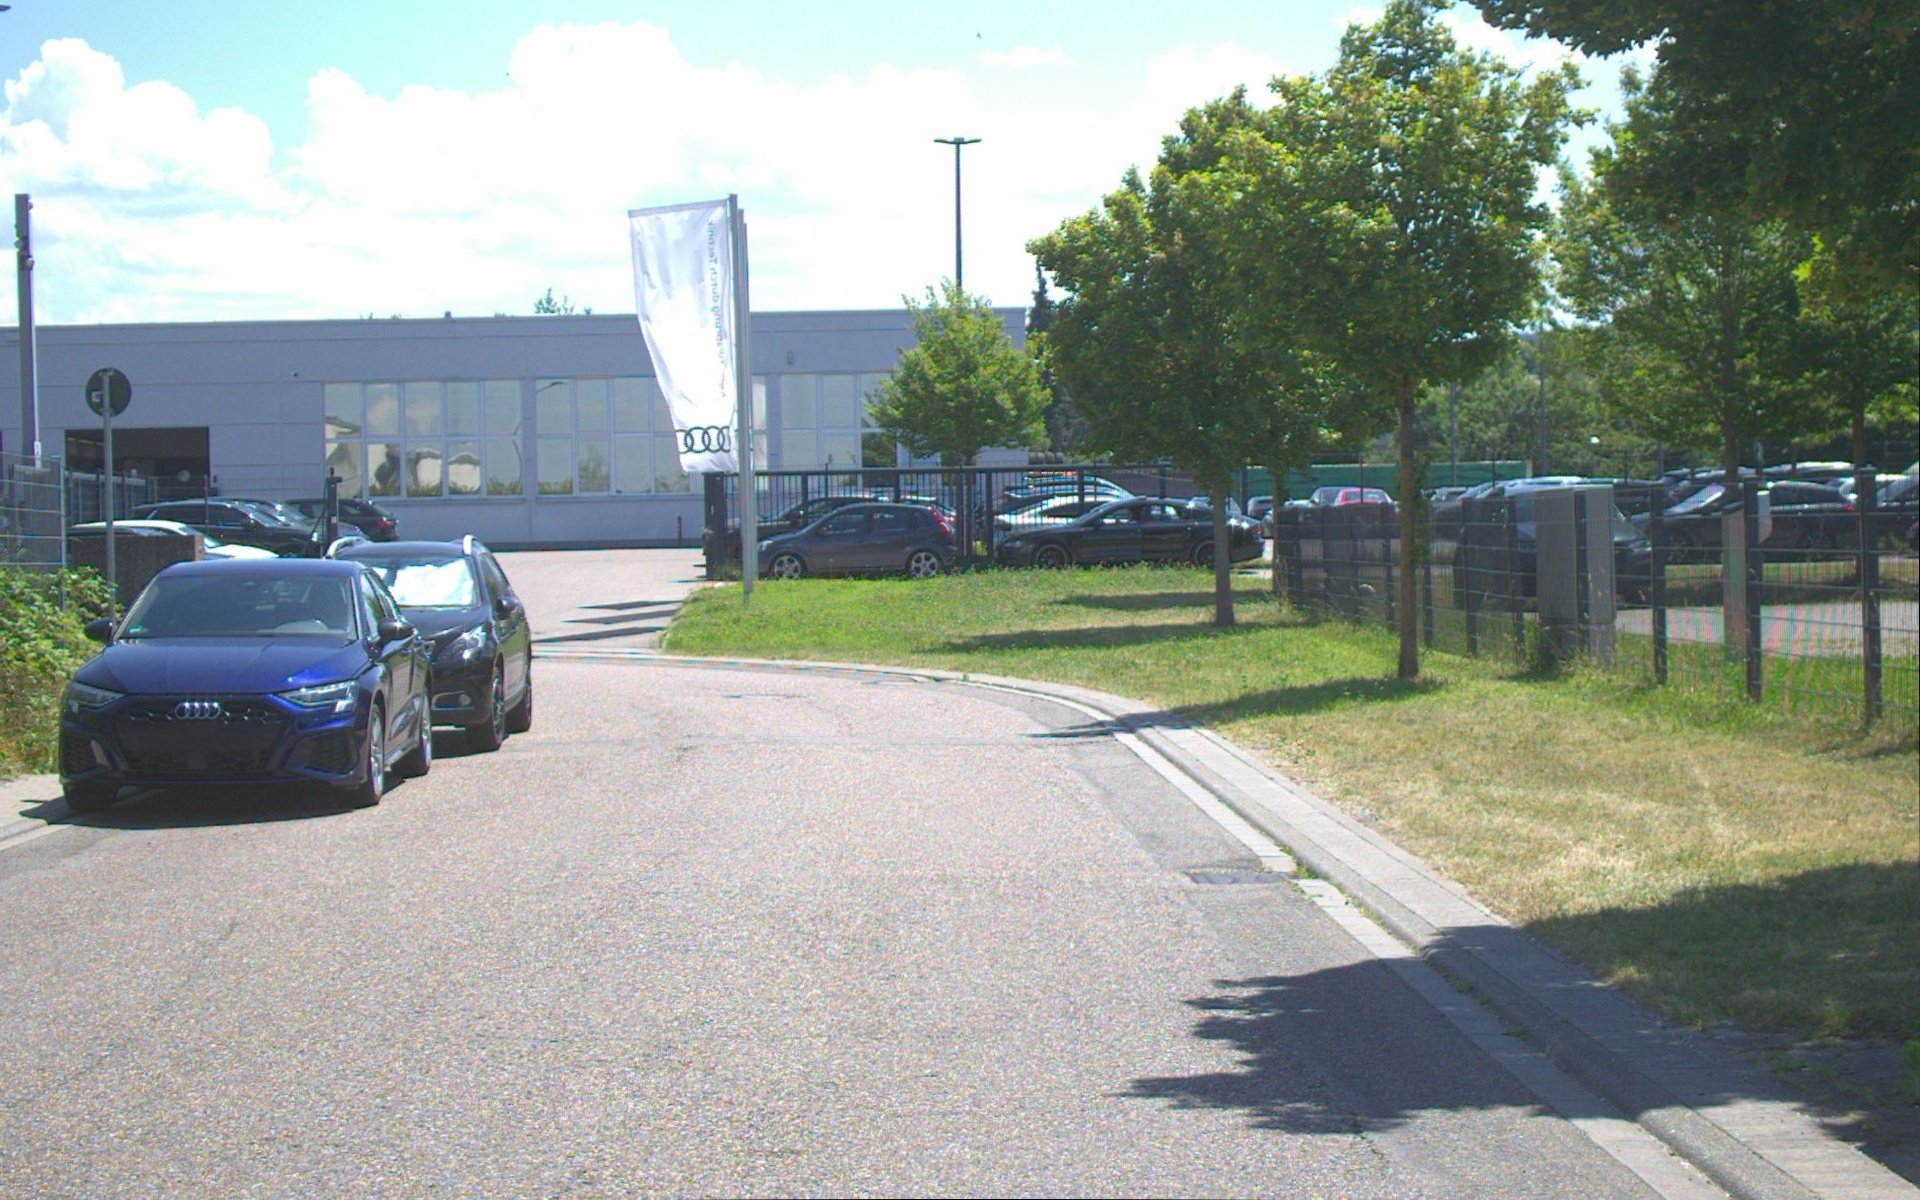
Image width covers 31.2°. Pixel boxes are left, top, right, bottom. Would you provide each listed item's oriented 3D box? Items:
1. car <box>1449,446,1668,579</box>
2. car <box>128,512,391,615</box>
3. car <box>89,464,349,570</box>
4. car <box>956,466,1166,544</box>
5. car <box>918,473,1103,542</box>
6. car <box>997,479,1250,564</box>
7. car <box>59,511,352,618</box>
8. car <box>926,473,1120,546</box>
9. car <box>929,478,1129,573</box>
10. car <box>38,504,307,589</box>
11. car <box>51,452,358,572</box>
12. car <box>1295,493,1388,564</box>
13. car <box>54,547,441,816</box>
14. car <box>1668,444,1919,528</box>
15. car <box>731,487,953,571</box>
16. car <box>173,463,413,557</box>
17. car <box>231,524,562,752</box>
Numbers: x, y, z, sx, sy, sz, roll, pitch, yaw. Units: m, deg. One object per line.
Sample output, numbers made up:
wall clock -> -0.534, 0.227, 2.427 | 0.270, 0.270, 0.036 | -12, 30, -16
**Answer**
car -> 7.278, -1.082, 42.172 | 1.735, 1.517, 3.896 | -2, 2, -4
car -> -14.090, -0.752, 69.355 | 4.883, 1.916, 2.000 | -1, 2, -1
car -> -14.364, -1.611, 66.826 | 4.586, 1.916, 2.000 | -1, 2, -1
car -> 1.971, -1.870, 67.930 | 3.986, 1.393, 2.000 | -1, -1, -2
car -> 1.101, -2.053, 76.836 | 3.986, 1.393, 2.000 | -1, -1, -2
car -> 2.970, -1.437, 63.201 | 4.437, 1.393, 2.000 | -1, -1, -2
car -> -12.446, -0.574, 56.907 | 4.437, 1.621, 2.000 | -1, -1, -2
car -> 1.325, -1.930, 73.468 | 3.986, 1.393, 2.000 | -1, -1, -2
car -> 1.403, -1.538, 71.182 | 3.986, 1.821, 2.000 | -1, -1, -2
car -> -14.177, -0.950, 62.076 | 4.437, 1.393, 2.000 | -1, -1, -2
car -> -14.185, -1.667, 64.760 | 5.317, 2.090, 2.000 | -1, 2, -1
car -> 10.541, -1.958, 95.171 | 1.993, 1.821, 4.000 | -1, 0, -1
car -> -4.245, 0.416, 21.051 | 1.656, 1.412, 4.146 | -2, 1, -3
car -> 15.596, -2.110, 63.751 | 4.437, 1.393, 2.000 | -1, -1, -2
car -> -2.174, -1.285, 63.057 | 3.986, 1.393, 2.000 | -1, -1, -2
car -> -14.681, -1.995, 75.900 | 4.883, 1.916, 2.000 | -1, 2, -1
car -> -4.187, 0.222, 26.191 | 1.833, 1.541, 4.265 | -2, 1, -1
